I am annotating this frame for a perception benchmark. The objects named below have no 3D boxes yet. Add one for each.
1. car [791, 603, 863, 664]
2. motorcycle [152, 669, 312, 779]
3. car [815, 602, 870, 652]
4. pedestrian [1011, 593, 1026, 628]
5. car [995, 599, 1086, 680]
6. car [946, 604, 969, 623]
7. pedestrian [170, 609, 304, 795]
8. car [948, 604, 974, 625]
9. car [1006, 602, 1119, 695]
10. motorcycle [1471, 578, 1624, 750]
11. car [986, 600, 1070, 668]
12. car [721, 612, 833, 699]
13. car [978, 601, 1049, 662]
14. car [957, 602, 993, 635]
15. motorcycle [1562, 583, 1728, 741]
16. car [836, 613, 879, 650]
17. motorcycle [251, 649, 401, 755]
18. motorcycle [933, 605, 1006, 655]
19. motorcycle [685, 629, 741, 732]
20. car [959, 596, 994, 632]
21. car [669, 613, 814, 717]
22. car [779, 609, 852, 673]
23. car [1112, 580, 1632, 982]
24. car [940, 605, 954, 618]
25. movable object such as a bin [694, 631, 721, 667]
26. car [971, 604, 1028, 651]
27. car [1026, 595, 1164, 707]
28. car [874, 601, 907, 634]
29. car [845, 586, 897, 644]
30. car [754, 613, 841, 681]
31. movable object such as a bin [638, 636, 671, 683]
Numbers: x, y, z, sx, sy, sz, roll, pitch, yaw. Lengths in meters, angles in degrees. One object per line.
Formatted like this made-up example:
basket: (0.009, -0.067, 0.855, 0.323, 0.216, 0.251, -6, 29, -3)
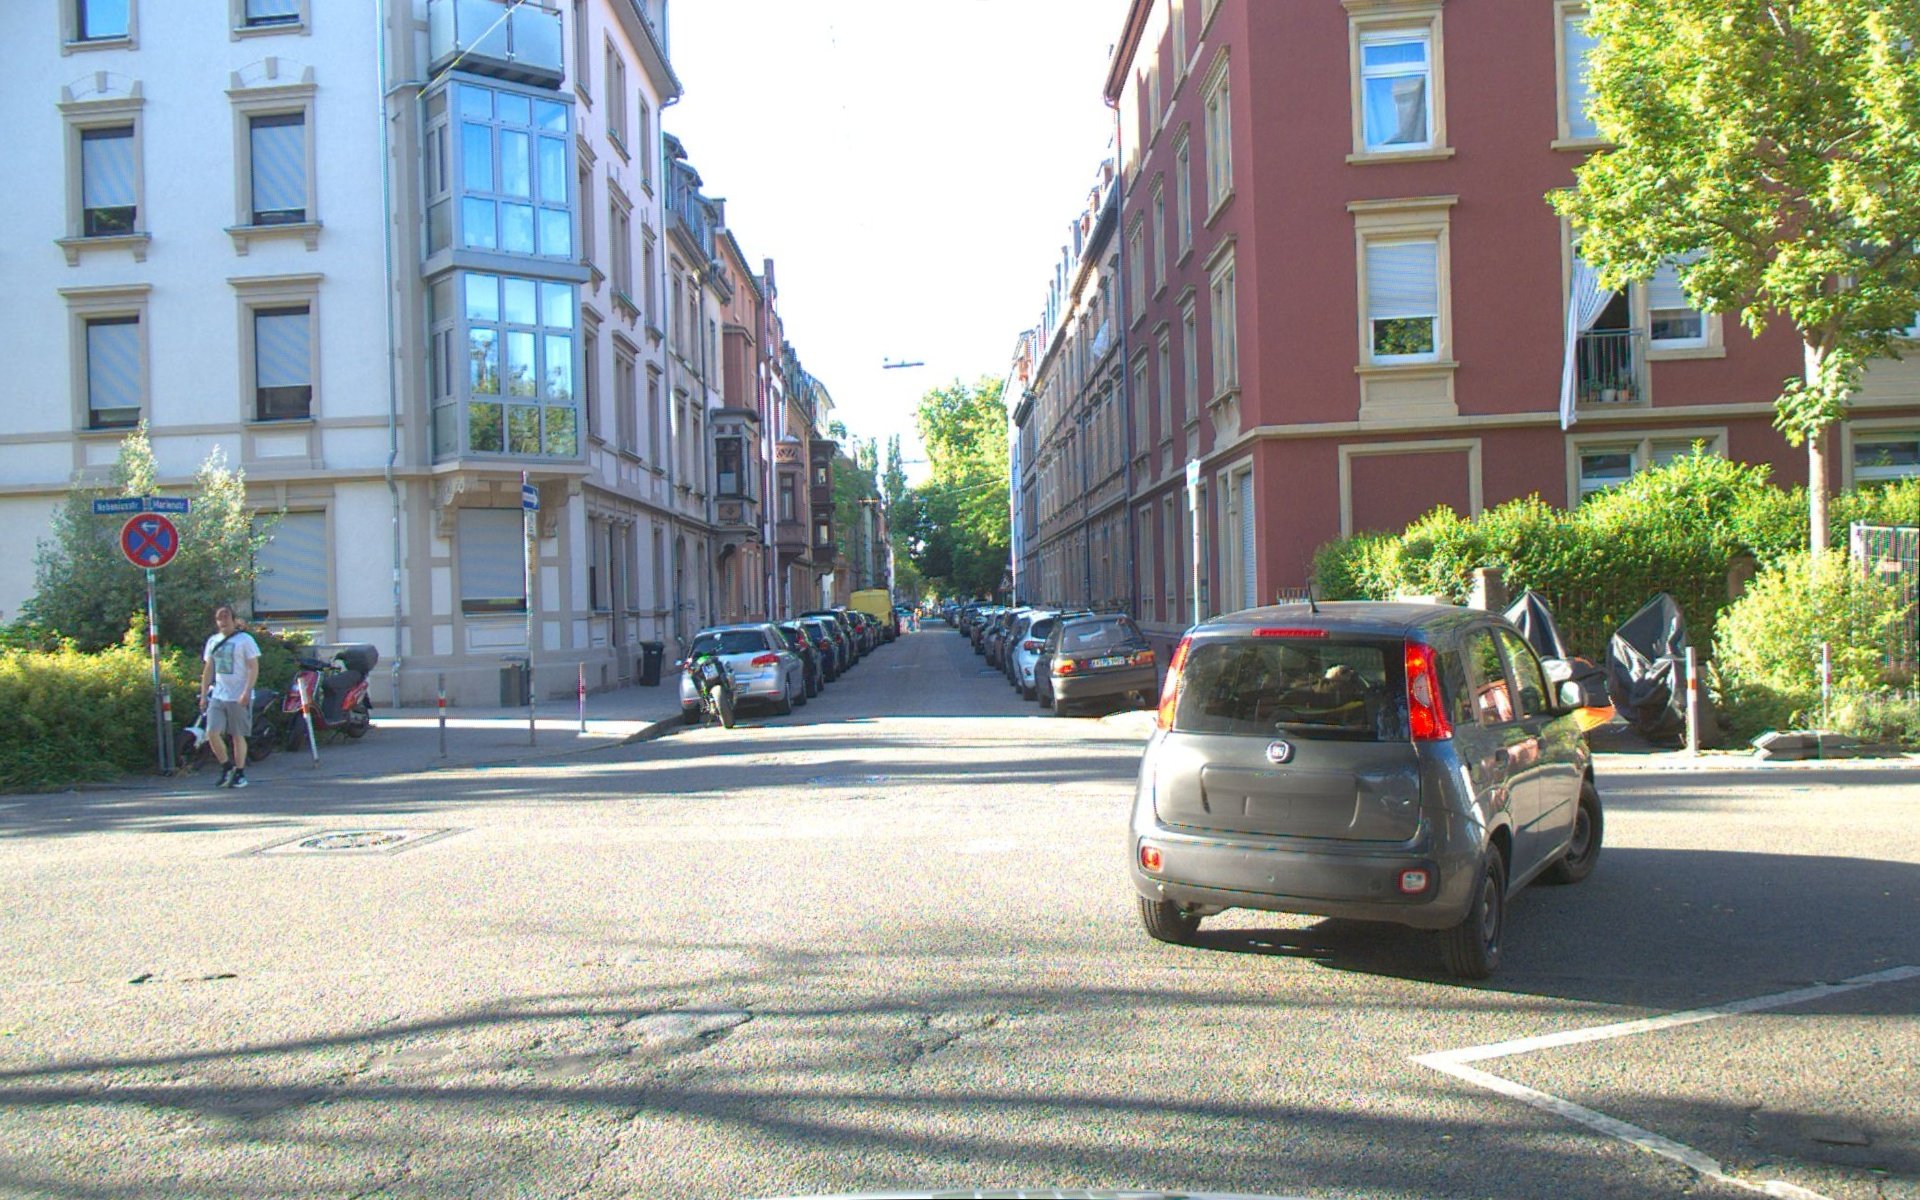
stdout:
car: (-3.881, 0.956, 48.807, 1.725, 1.645, 4.188, -2, 0, 0)
motorcycle: (-8.213, 1.379, 18.747, 0.625, 1.109, 1.871, -2, -1, 14)
car: (-4.116, 0.935, 58.509, 1.745, 1.634, 4.067, -2, 0, -2)
pedestrian: (2.942, 0.525, 82.772, 0.640, 1.659, 0.881, -4, -1, 3)
car: (1.655, 0.789, 35.000, 1.642, 1.529, 4.068, -2, 0, 0)
car: (-0.253, 1.248, 149.532, 1.856, 1.653, 3.998, -2, -1, -2)
pedestrian: (-7.256, 0.996, 16.644, 0.786, 1.776, 1.007, -2, 0, 5)
car: (0.090, 1.093, 128.256, 1.690, 1.549, 3.997, -3, 0, -4)
car: (1.777, 0.815, 29.747, 1.671, 1.488, 3.969, -2, 0, -1)
motorcycle: (5.875, 0.581, 16.716, 0.853, 1.551, 2.625, -3, 1, 7)
car: (1.615, 0.790, 40.574, 1.626, 1.505, 4.022, -2, 0, -3)
car: (-3.502, 1.034, 32.221, 1.745, 1.509, 3.742, -2, 0, 0)
car: (1.426, 0.828, 45.626, 1.726, 1.510, 4.401, -2, 0, 0)
car: (0.800, 0.967, 88.731, 1.719, 1.477, 4.288, -7, 0, 1)
motorcycle: (6.822, 0.577, 16.637, 0.850, 1.429, 2.545, -3, 0, 7)
car: (-4.280, 1.304, 69.228, 1.586, 1.349, 3.611, -5, 0, -2)
motorcycle: (-8.010, 1.269, 21.005, 0.598, 1.217, 2.045, -3, -1, 18)
motorcycle: (0.296, 0.929, 52.731, 2.193, 1.563, 0.882, 0, 0, -27)
motorcycle: (-3.576, 1.143, 24.039, 0.664, 1.357, 1.997, -5, 0, -7)
car: (0.895, 0.762, 94.171, 1.719, 1.817, 4.722, -5, 0, -1)
car: (-3.534, 1.017, 27.419, 1.744, 1.509, 3.933, -2, 0, 1)
car: (-3.772, 1.042, 43.623, 1.610, 1.480, 3.837, -5, 0, -2)
car: (2.239, 0.703, 8.281, 1.603, 1.509, 3.526, -2, 0, 30)
car: (-1.872, 1.654, 237.363, 1.953, 1.758, 3.999, -3, 0, -1)
movable object such as a bin: (-6.826, 1.329, 44.797, 0.600, 0.936, 0.733, -2, 0, -1)
car: (1.302, 0.891, 55.948, 1.741, 1.421, 4.317, -2, 0, 0)
car: (1.990, 0.725, 25.232, 1.635, 1.509, 3.705, -2, 0, -2)
car: (-4.042, 0.981, 95.462, 1.783, 1.797, 4.332, -2, 0, -4)
car: (-4.290, 0.716, 80.630, 2.132, 2.551, 5.876, -5, 0, -1)
car: (-3.735, 1.053, 38.522, 1.745, 1.428, 3.741, -2, 0, -2)
movable object such as a bin: (-6.497, 1.267, 35.214, 0.609, 0.972, 0.511, -1, -1, -1)
